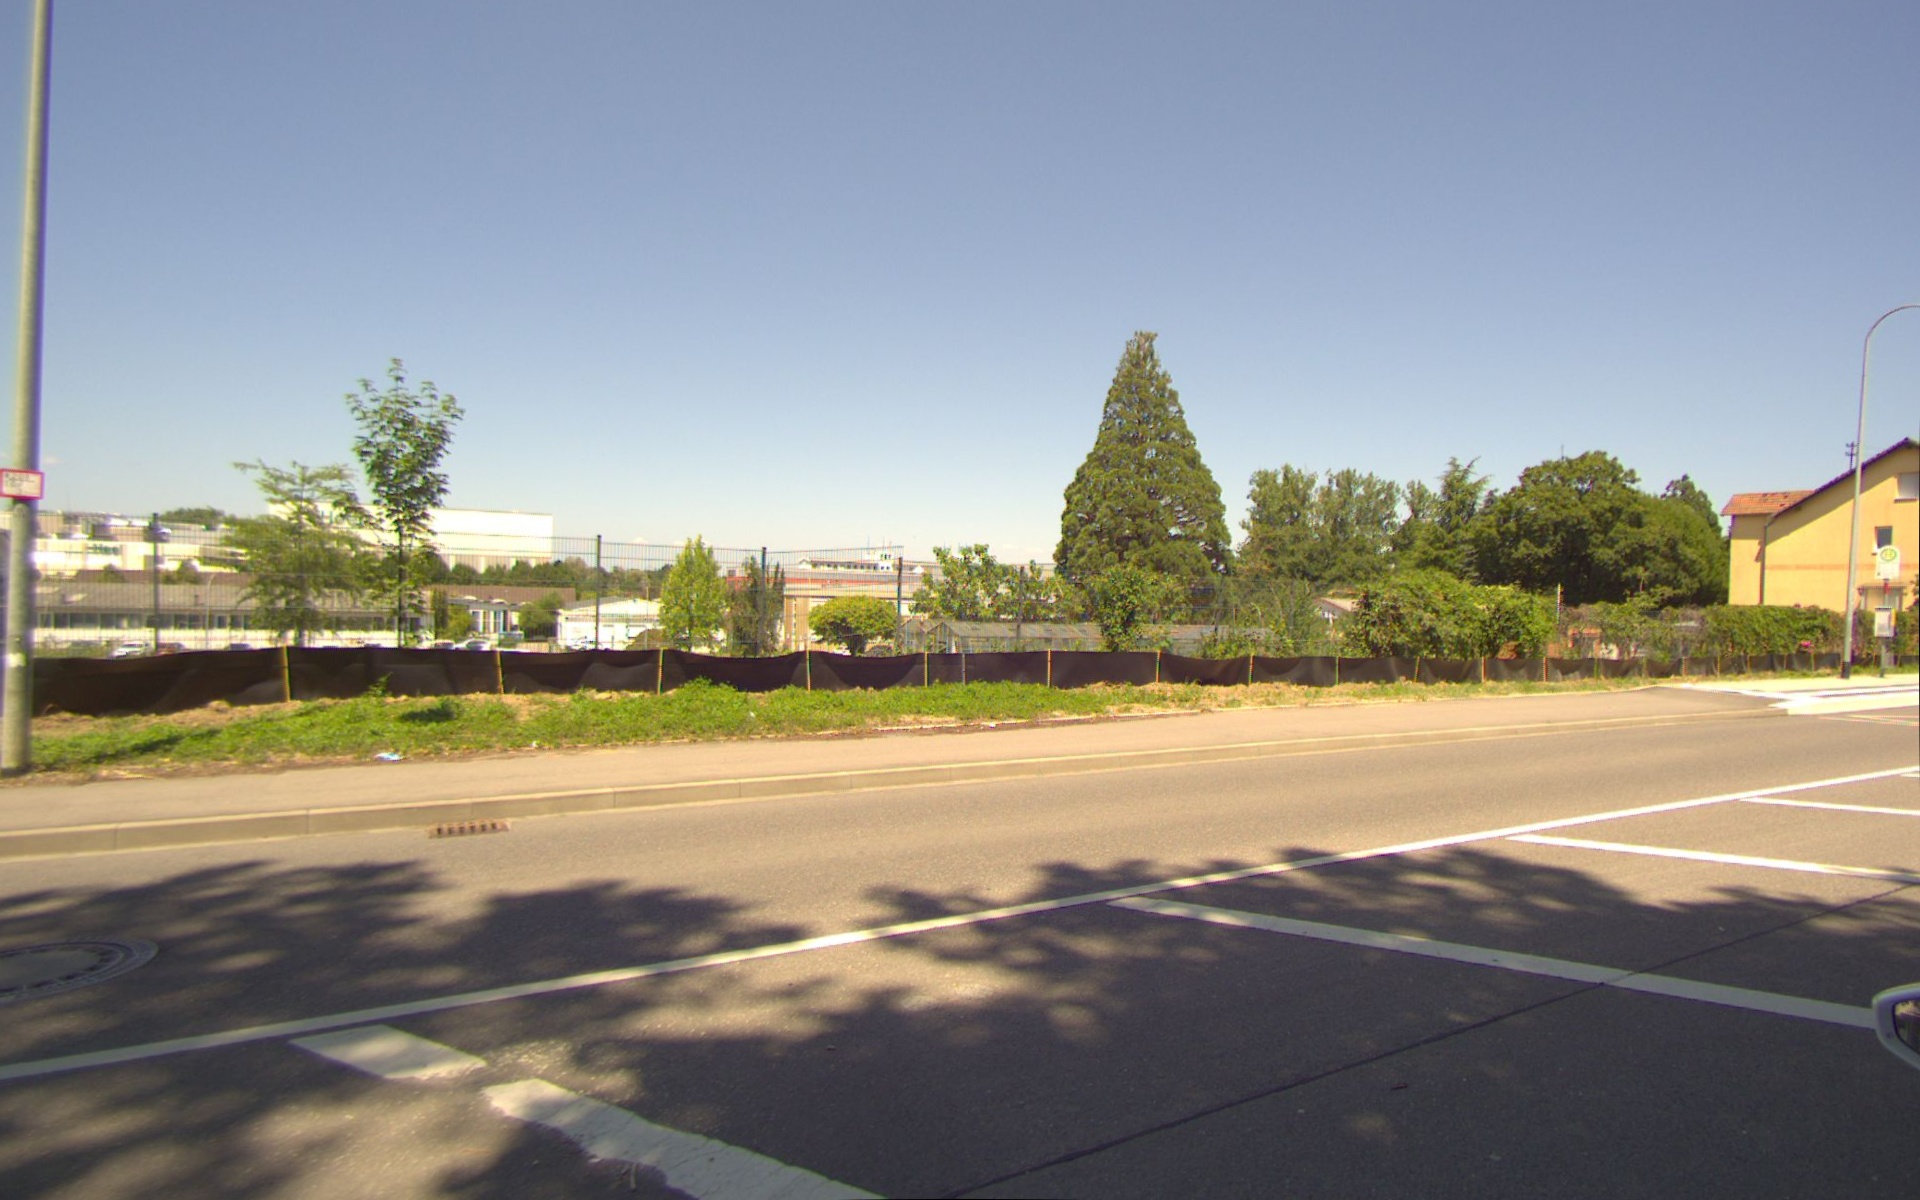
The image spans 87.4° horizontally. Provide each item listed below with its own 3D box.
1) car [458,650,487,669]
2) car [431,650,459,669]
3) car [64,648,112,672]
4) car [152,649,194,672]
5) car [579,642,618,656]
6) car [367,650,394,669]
[{"bbox_3d":[-45.589,5.513,93.929,1.978,1.528,3.965,1,-1,-32],"label":"car"},{"bbox_3d":[-47.795,5.462,93.233,1.978,1.528,3.965,1,-1,-32],"label":"car"},{"bbox_3d":[-70.643,4.846,81.424,1.974,1.595,3.973,1,1,-26],"label":"car"},{"bbox_3d":[-65.630,5.014,83.853,1.974,1.595,3.973,1,1,-26],"label":"car"},{"bbox_3d":[-39.896,5.389,110.742,3.944,1.528,1.988,1,0,-24],"label":"car"},{"bbox_3d":[-52.197,5.345,90.514,1.978,1.528,3.965,1,-1,-32],"label":"car"}]
